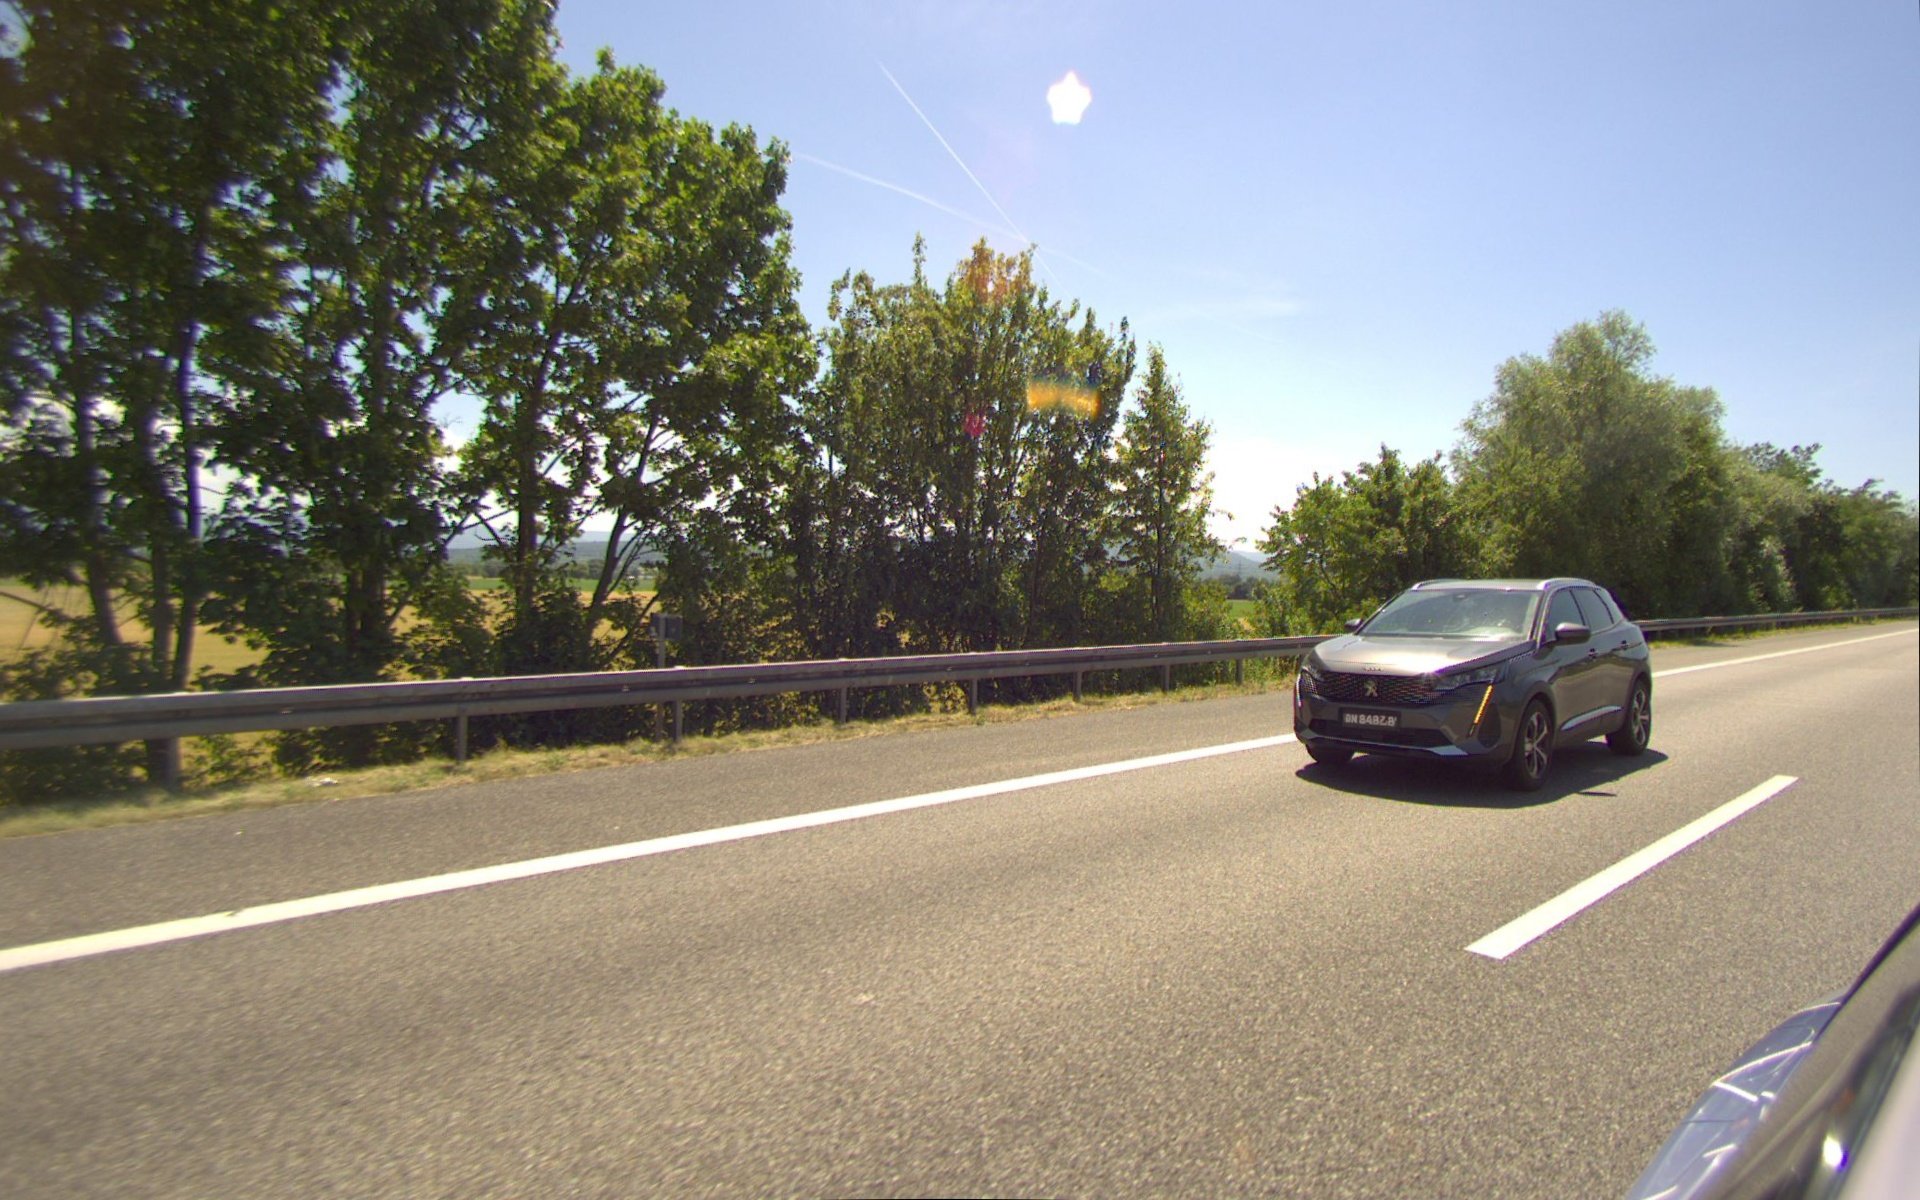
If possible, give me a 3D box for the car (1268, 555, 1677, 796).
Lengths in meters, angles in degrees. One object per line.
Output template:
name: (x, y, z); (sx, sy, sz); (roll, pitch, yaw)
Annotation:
car: (4.665, 0.502, 8.952); (4.062, 1.649, 1.848); (0, 1, -41)
